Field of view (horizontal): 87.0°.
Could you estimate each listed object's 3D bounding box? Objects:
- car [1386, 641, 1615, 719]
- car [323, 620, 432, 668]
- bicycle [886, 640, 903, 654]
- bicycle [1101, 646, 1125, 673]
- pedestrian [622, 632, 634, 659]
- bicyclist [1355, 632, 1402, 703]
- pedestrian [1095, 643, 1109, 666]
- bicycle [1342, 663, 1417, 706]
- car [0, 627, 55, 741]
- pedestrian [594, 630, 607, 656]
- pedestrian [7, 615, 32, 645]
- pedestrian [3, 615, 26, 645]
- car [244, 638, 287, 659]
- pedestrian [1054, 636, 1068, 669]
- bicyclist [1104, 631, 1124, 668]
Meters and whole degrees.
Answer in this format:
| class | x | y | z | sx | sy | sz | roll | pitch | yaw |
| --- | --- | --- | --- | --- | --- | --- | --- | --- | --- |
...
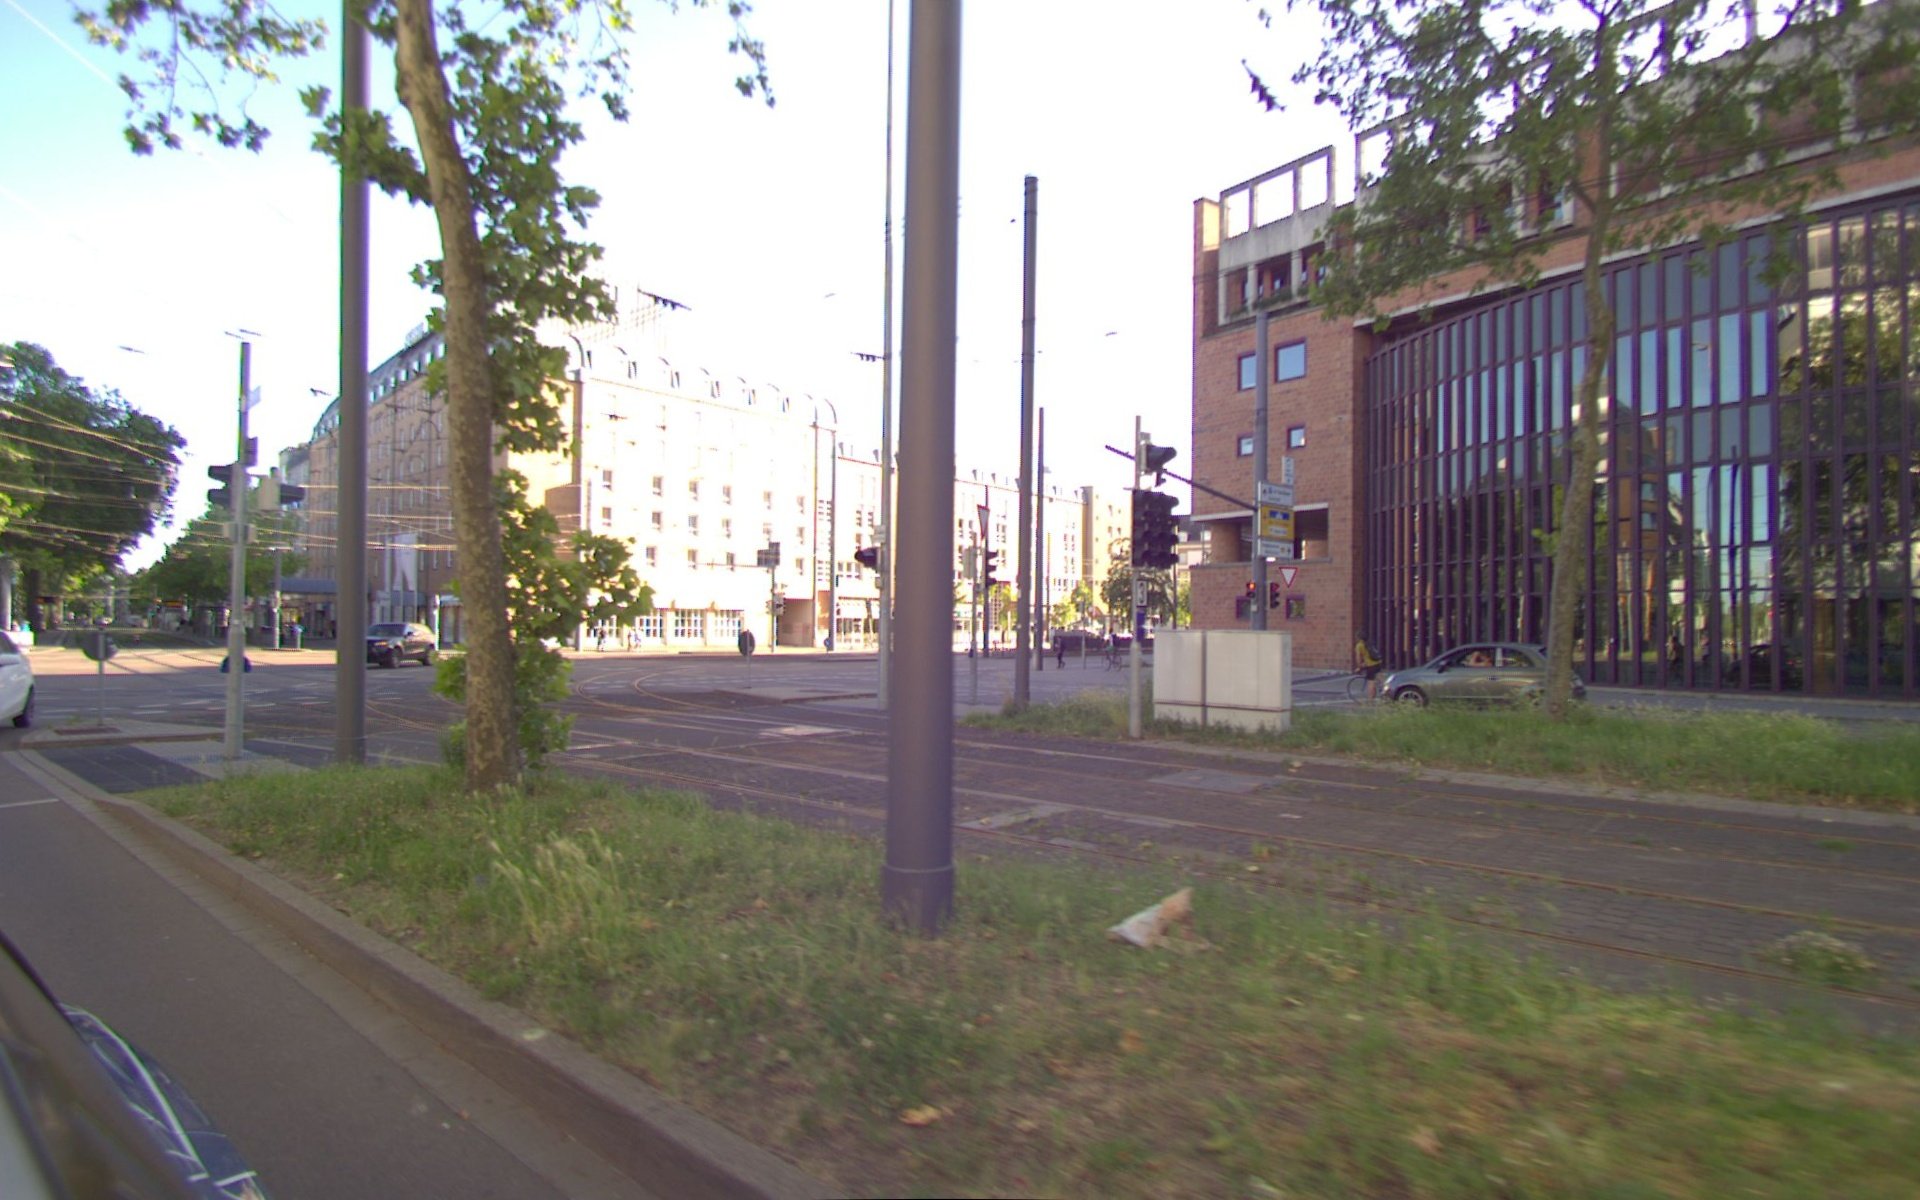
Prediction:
| class | x | y | z | sx | sy | sz | roll | pitch | yaw |
| --- | --- | --- | --- | --- | --- | --- | --- | --- | --- |
| car | 10.313 | 1.481 | 19.417 | 3.617 | 1.338 | 1.634 | -3 | -3 | 38 |
| car | -21.392 | 1.625 | 37.411 | 1.926 | 1.675 | 4.361 | 0 | -2 | -7 |
| bicycle | -5.991 | 4.307 | 92.538 | 1.776 | 1.150 | 0.545 | 0 | 0 | 43 |
| bicycle | 6.630 | 2.566 | 43.905 | 0.607 | 1.088 | 1.922 | 0 | -2 | -5 |
| pedestrian | -23.663 | 3.235 | 72.147 | 0.492 | 1.847 | 0.732 | 1 | -1 | 5 |
| bicyclist | 9.858 | 1.571 | 23.854 | 0.614 | 1.634 | 0.816 | 2 | -2 | -41 |
| pedestrian | 9.647 | 3.694 | 68.706 | 0.701 | 1.546 | 0.646 | -1 | -3 | 37 |
| bicycle | 9.849 | 1.965 | 23.808 | 0.528 | 0.920 | 1.571 | 2 | -2 | -40 |
| car | -13.605 | 1.097 | 13.485 | 1.613 | 1.478 | 4.197 | 2 | -3 | -33 |
| pedestrian | -25.232 | 3.003 | 71.017 | 0.567 | 1.781 | 0.693 | 0 | -3 | 6 |
| pedestrian | -48.408 | 1.552 | 52.089 | 0.675 | 1.551 | 0.734 | -2 | -3 | 32 |
| pedestrian | -49.086 | 1.580 | 52.547 | 0.650 | 1.551 | 0.734 | -2 | -3 | 32 |
| car | -55.109 | 3.846 | 80.281 | 4.310 | 1.477 | 1.772 | -1 | -3 | 42 |
| pedestrian | 4.942 | 2.567 | 49.391 | 0.508 | 1.629 | 0.500 | -2 | -3 | 29 |
| bicyclist | 6.664 | 2.130 | 43.805 | 0.676 | 1.602 | 0.928 | 0 | -2 | -4 |
